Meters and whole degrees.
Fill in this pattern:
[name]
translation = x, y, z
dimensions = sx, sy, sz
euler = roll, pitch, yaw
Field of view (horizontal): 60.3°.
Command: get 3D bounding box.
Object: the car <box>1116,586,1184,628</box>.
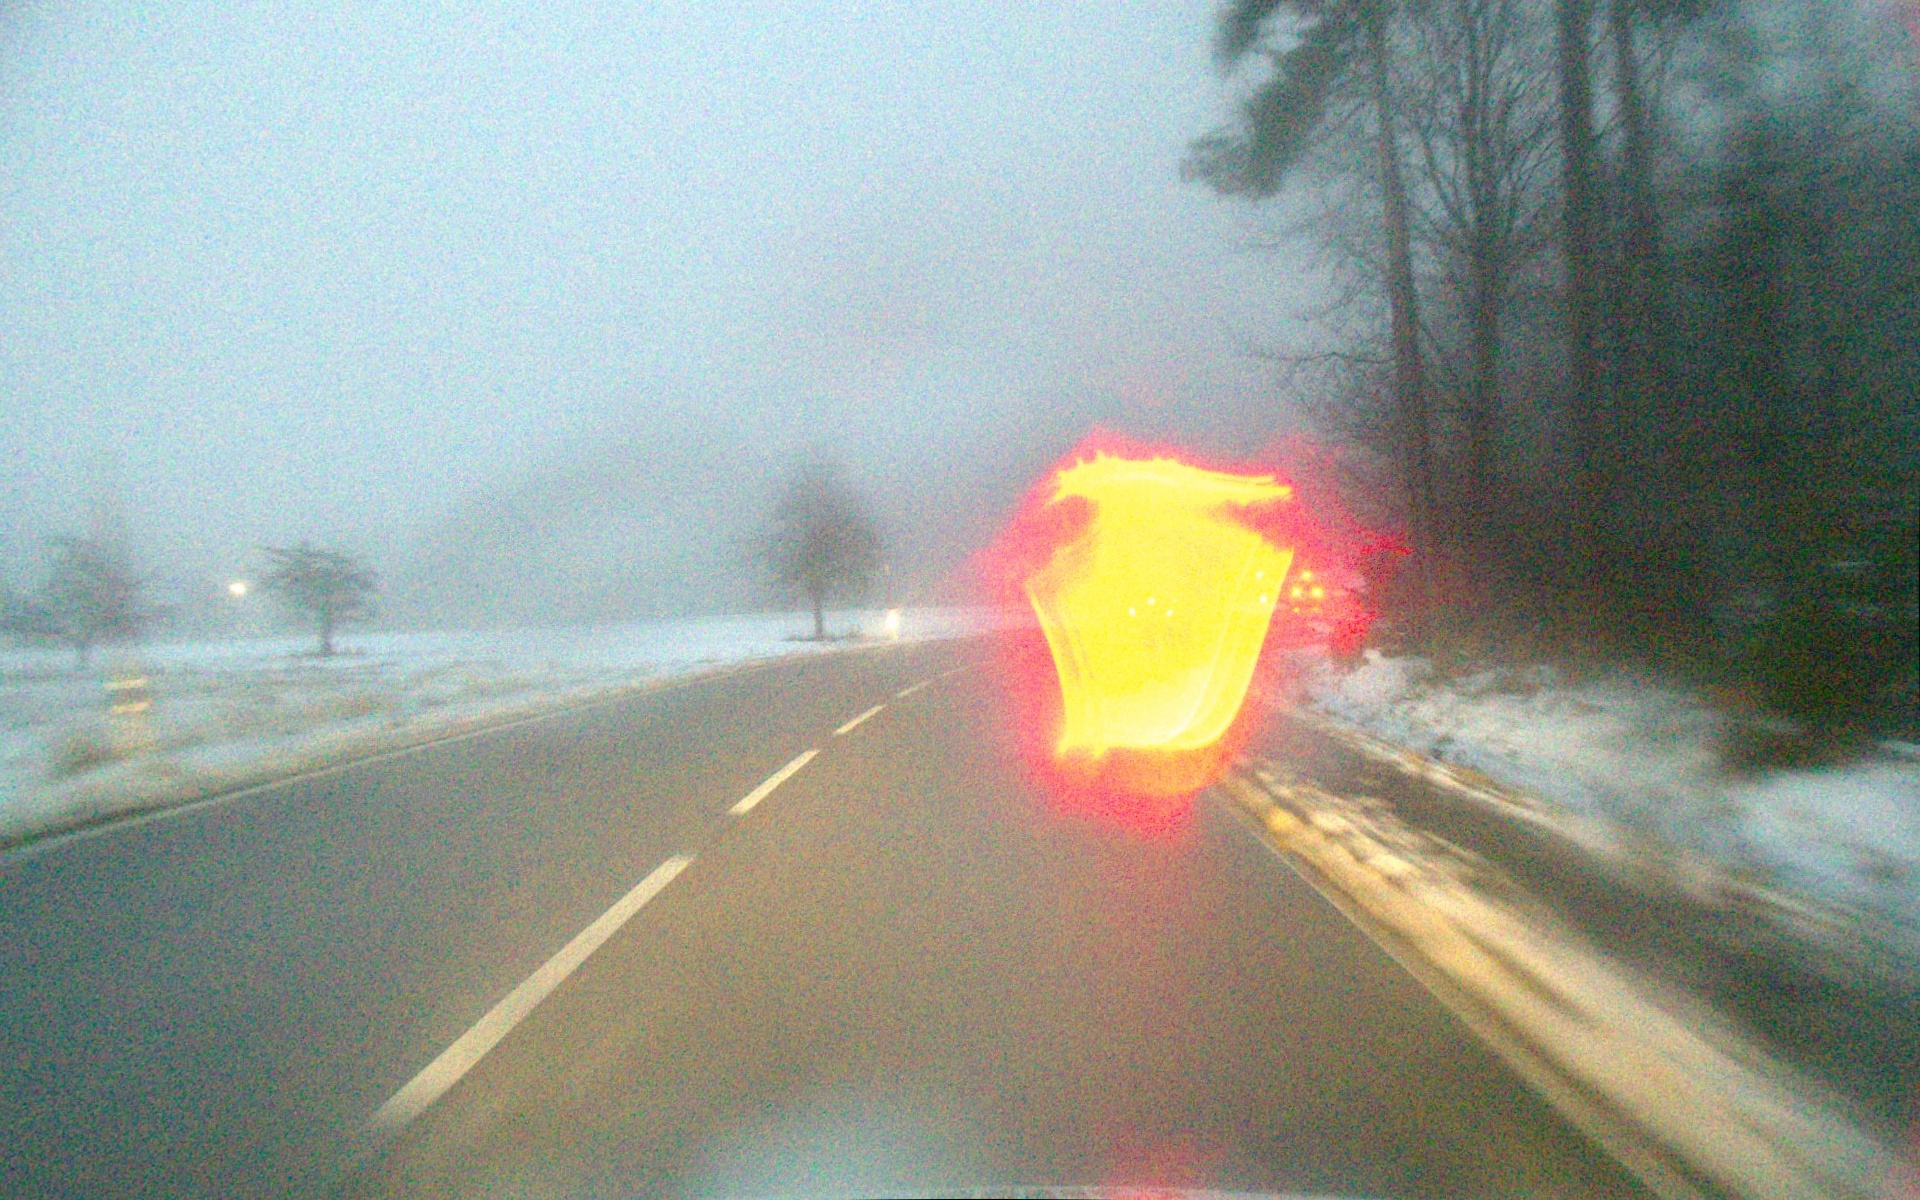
[car]
translation = 6.618, 0.230, 57.269
dimensions = 1.881, 1.299, 4.004
euler = 0, 2, 13
